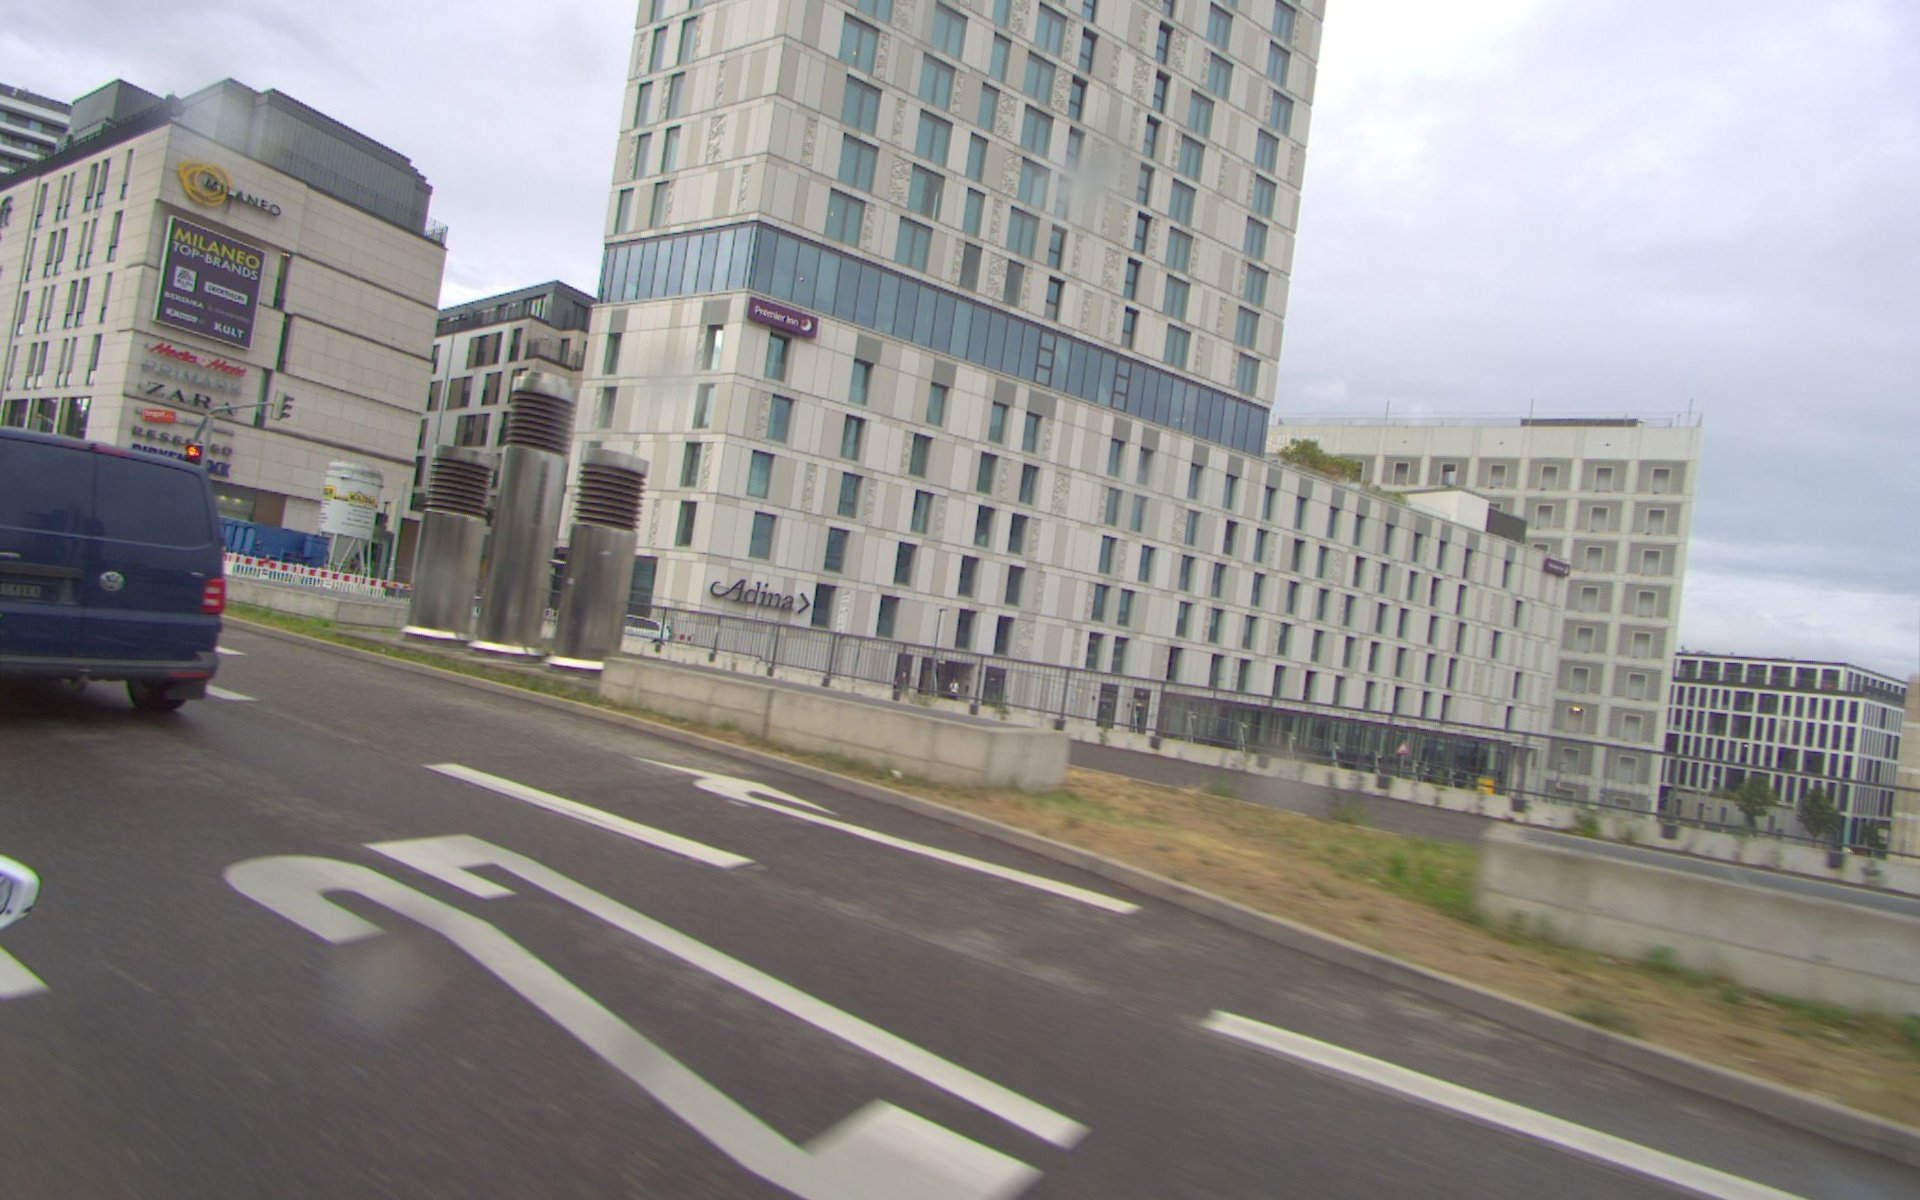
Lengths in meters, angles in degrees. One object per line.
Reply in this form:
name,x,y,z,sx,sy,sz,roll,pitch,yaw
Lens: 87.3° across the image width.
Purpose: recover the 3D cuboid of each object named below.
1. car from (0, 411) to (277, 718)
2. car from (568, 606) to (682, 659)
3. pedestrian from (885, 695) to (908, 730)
car,-7.794,-0.434,7.995,4.959,1.906,2.034,7,1,33
car,-13.544,1.315,40.697,3.962,1.448,1.731,11,-4,-30
pedestrian,-3.328,5.911,53.007,0.785,1.721,0.801,6,-2,18
